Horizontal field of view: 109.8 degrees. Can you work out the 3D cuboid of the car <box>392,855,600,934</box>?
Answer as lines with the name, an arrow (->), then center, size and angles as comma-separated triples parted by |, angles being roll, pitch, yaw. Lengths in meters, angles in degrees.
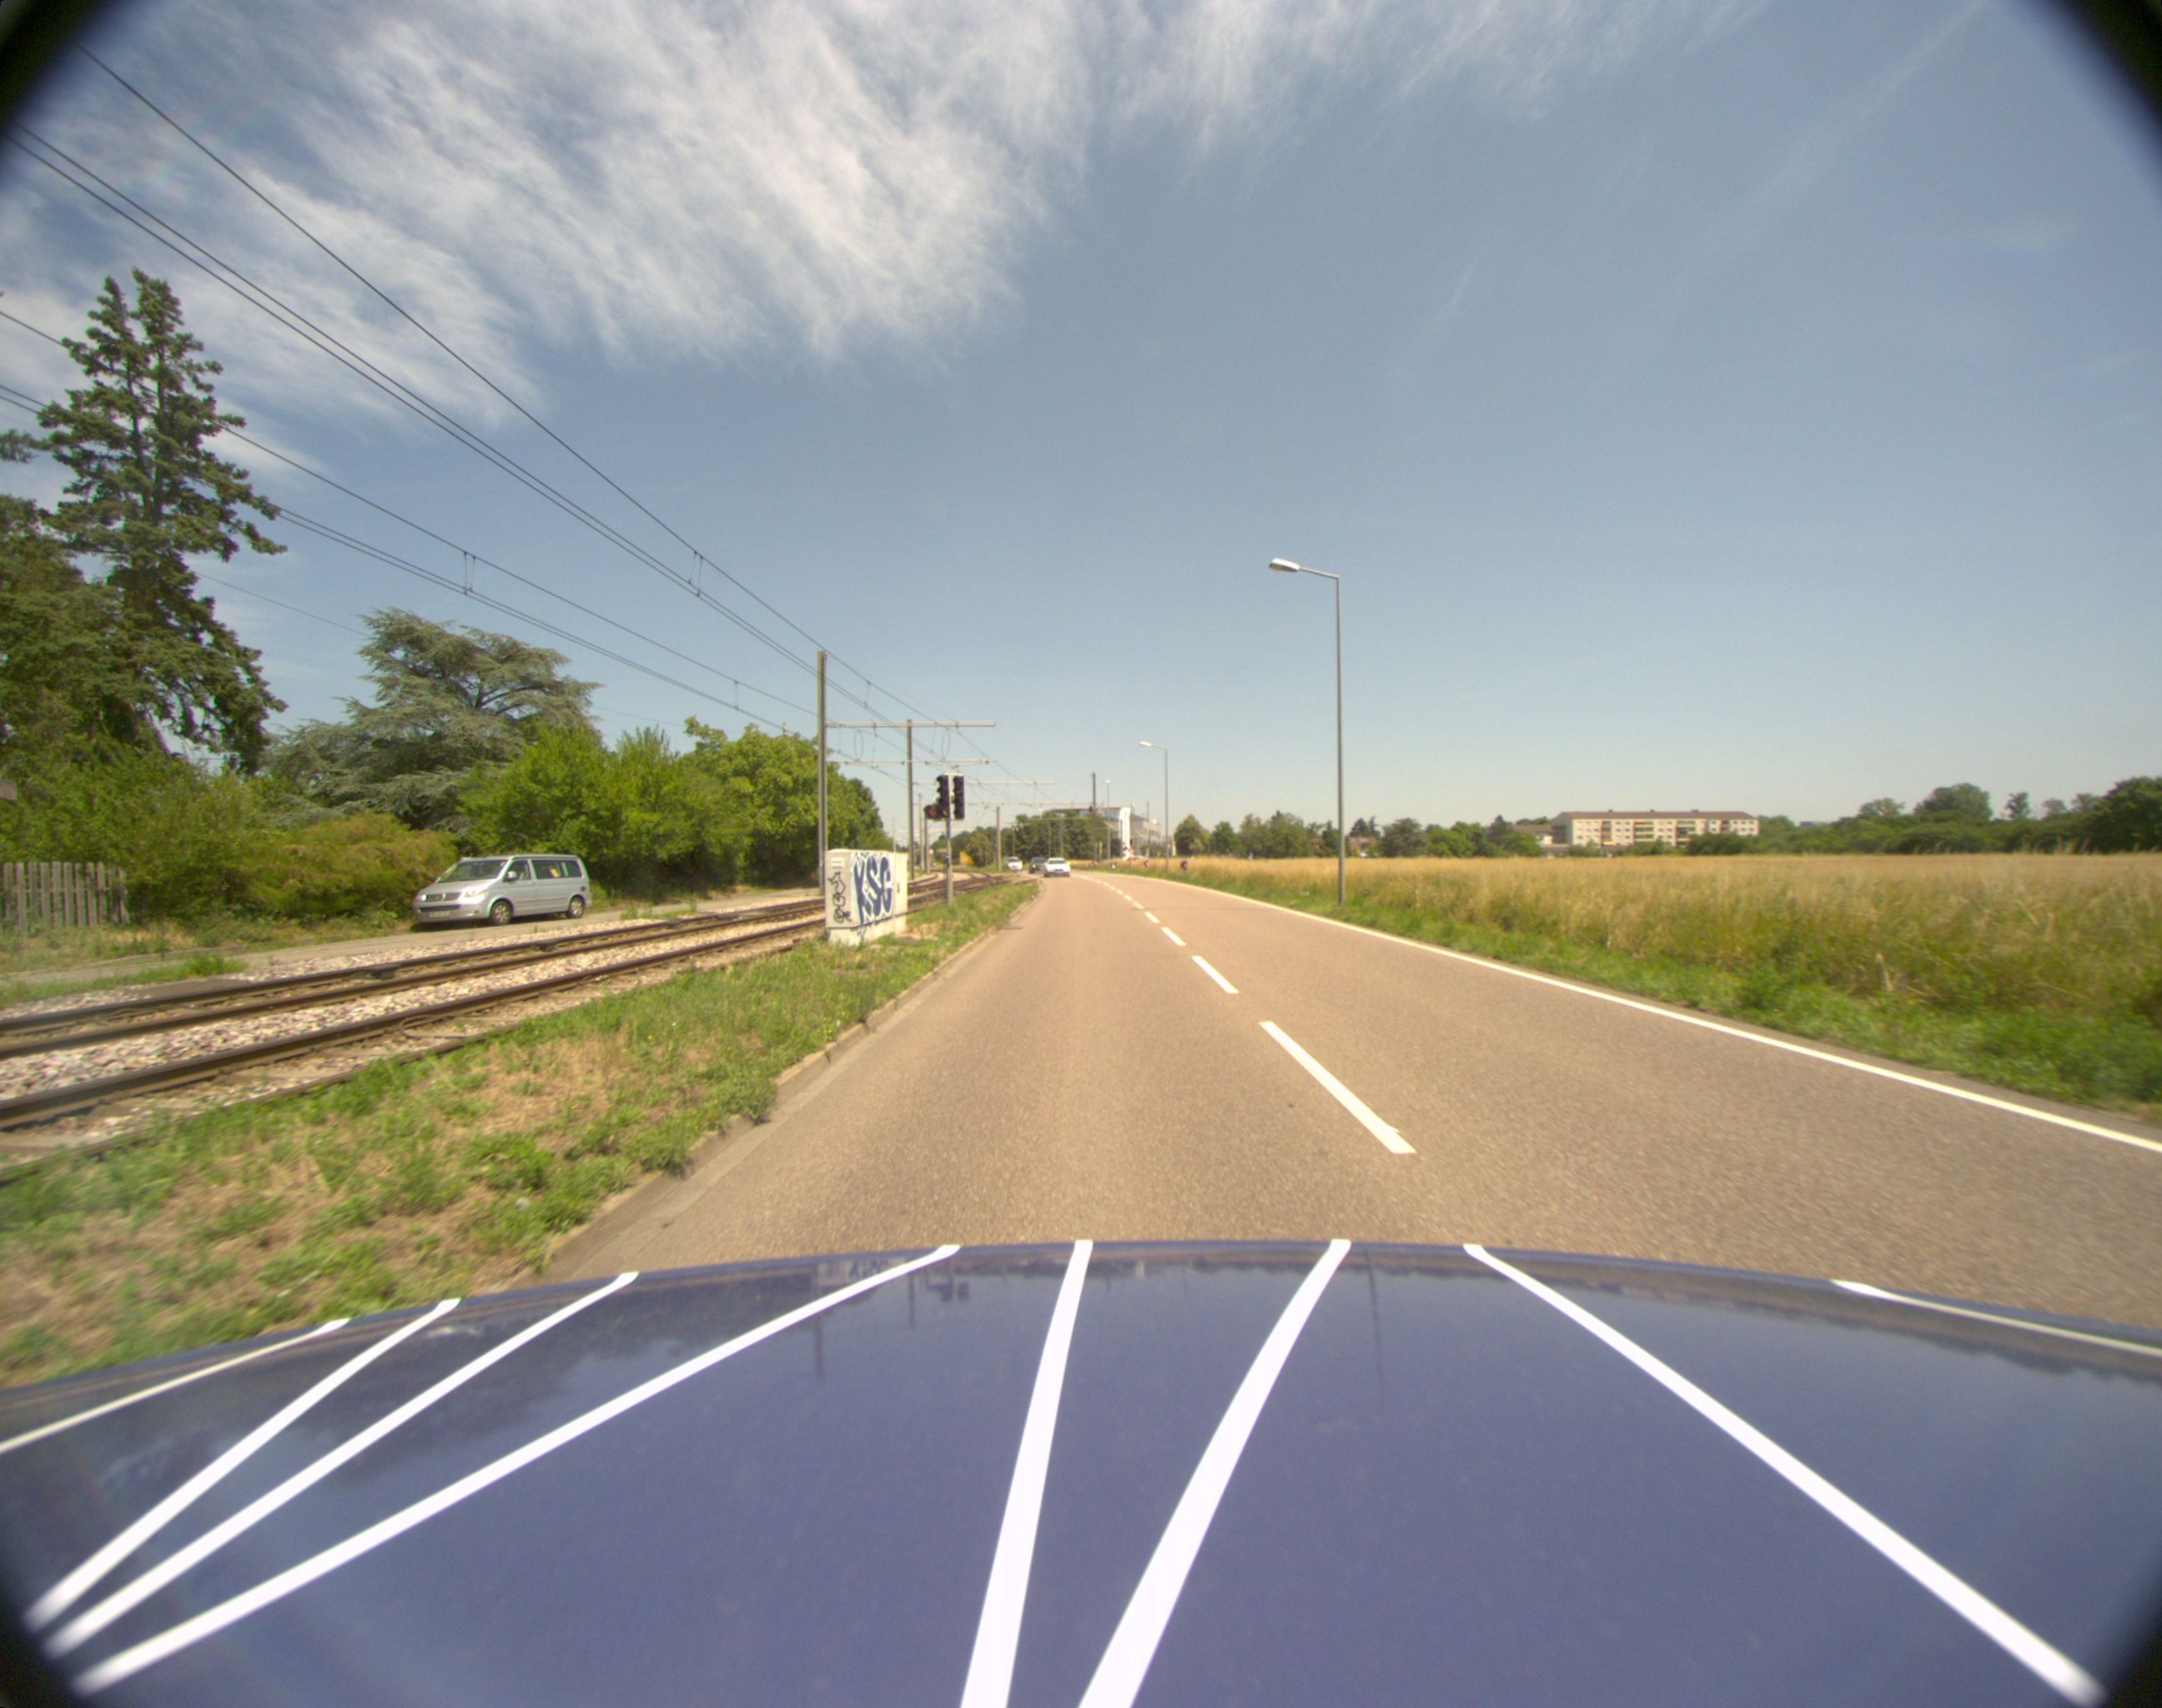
car -> -16.120, 1.009, 21.388 | 2.042, 1.871, 5.066 | -1, 1, -2

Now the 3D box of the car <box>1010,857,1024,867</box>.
car -> -8.295, 1.027, 98.016 | 1.633, 1.242, 3.160 | -1, 1, -8

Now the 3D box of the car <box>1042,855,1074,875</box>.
car -> -1.800, 0.839, 58.861 | 1.773, 1.434, 4.124 | -1, 1, -12

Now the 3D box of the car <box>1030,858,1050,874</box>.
car -> -3.949, 1.101, 73.040 | 1.511, 1.423, 3.355 | -1, 1, -9

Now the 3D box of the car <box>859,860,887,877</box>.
car -> -19.169, 1.341, 70.085 | 1.802, 1.418, 4.736 | -1, 1, -7
